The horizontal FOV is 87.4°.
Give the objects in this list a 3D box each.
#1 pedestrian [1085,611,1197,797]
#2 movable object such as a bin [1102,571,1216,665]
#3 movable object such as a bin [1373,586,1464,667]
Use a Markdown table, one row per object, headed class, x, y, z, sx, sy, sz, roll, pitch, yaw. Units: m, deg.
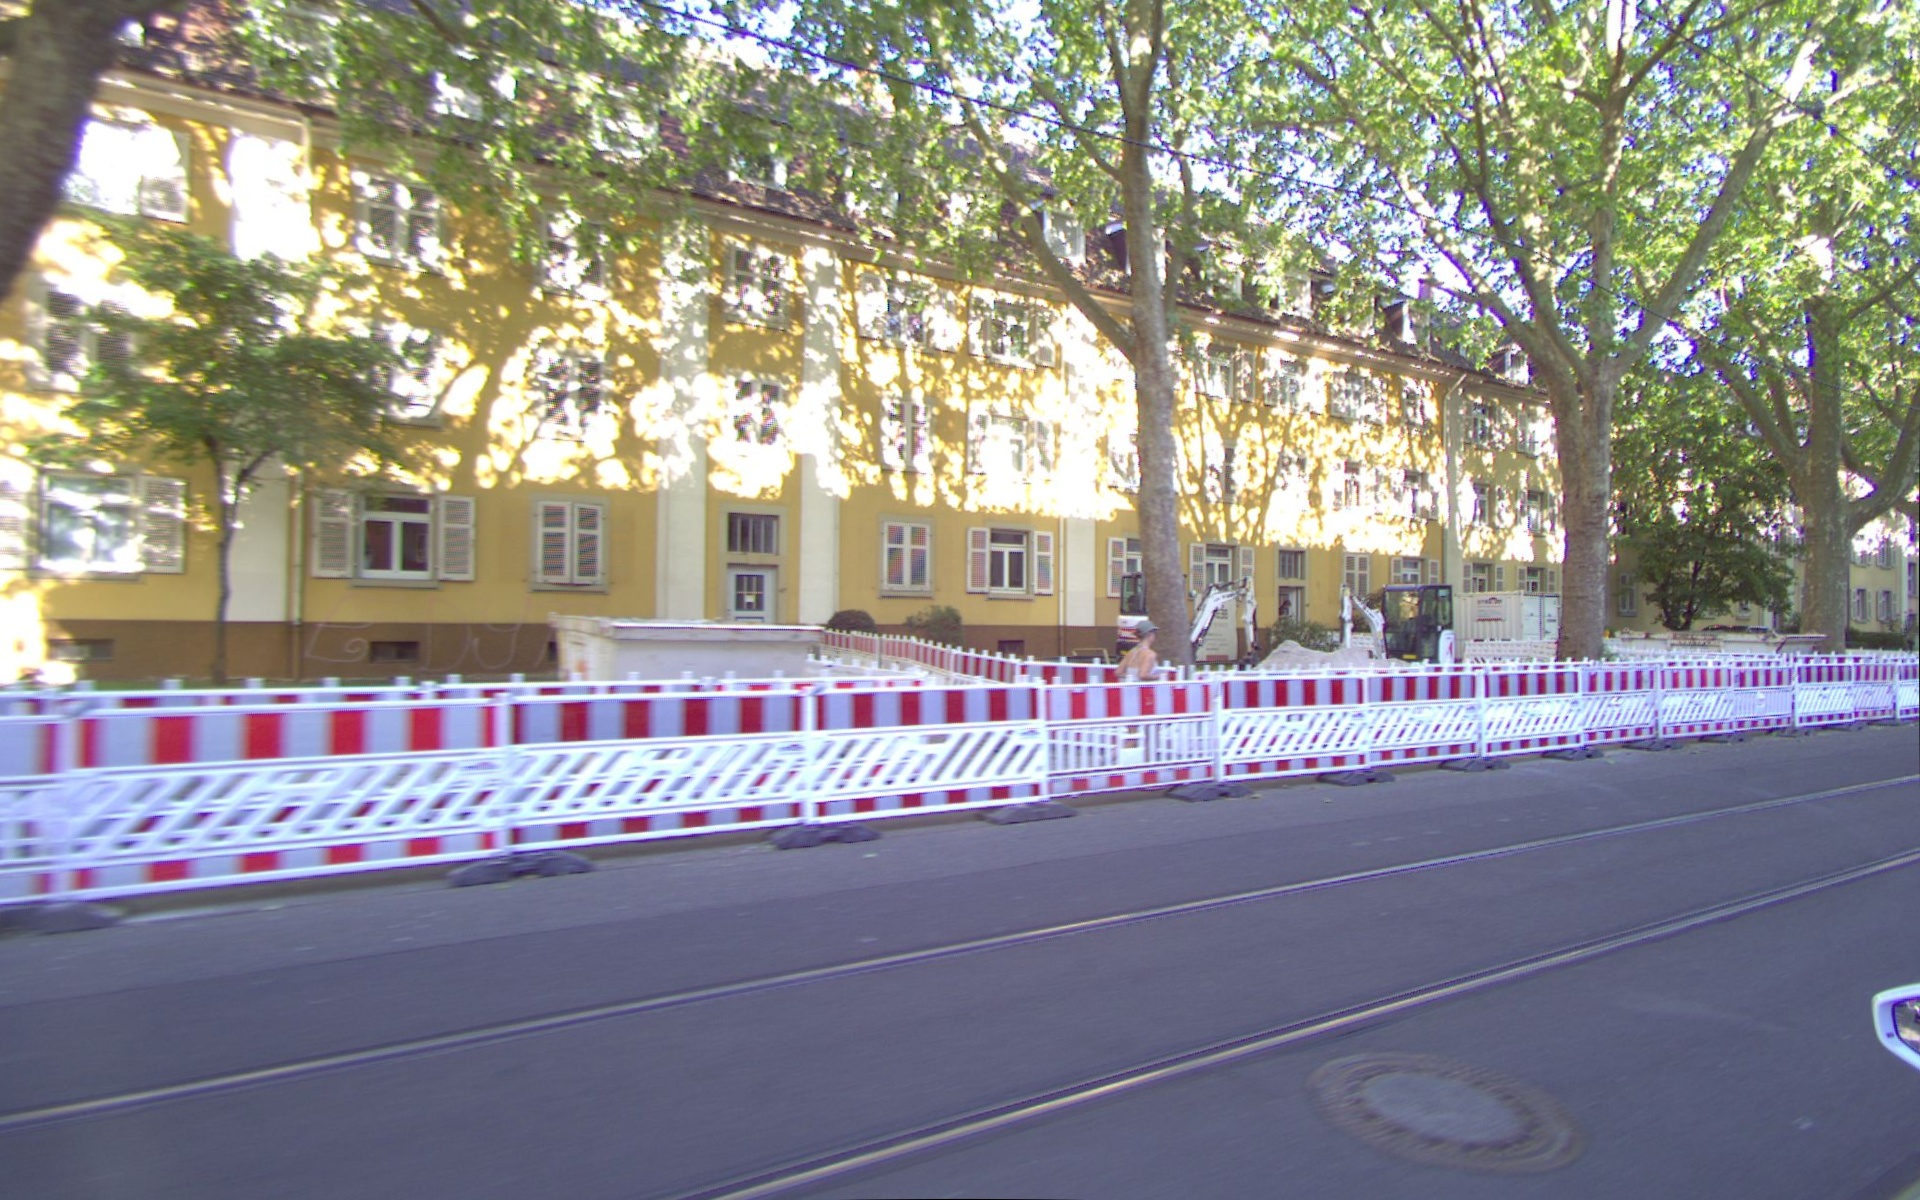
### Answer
| class | x | y | z | sx | sy | sz | roll | pitch | yaw |
| --- | --- | --- | --- | --- | --- | --- | --- | --- | --- |
| pedestrian | 1.736 | 0.963 | 9.658 | 0.769 | 1.691 | 0.713 | 1 | -1 | -30 |
| movable object such as a bin | 4.214 | 0.382 | 21.269 | 1.984 | 1.893 | 1.327 | 2 | -1 | -30 |
| movable object such as a bin | 9.811 | 0.566 | 21.507 | 1.541 | 1.667 | 1.092 | 1 | -1 | -30 |
